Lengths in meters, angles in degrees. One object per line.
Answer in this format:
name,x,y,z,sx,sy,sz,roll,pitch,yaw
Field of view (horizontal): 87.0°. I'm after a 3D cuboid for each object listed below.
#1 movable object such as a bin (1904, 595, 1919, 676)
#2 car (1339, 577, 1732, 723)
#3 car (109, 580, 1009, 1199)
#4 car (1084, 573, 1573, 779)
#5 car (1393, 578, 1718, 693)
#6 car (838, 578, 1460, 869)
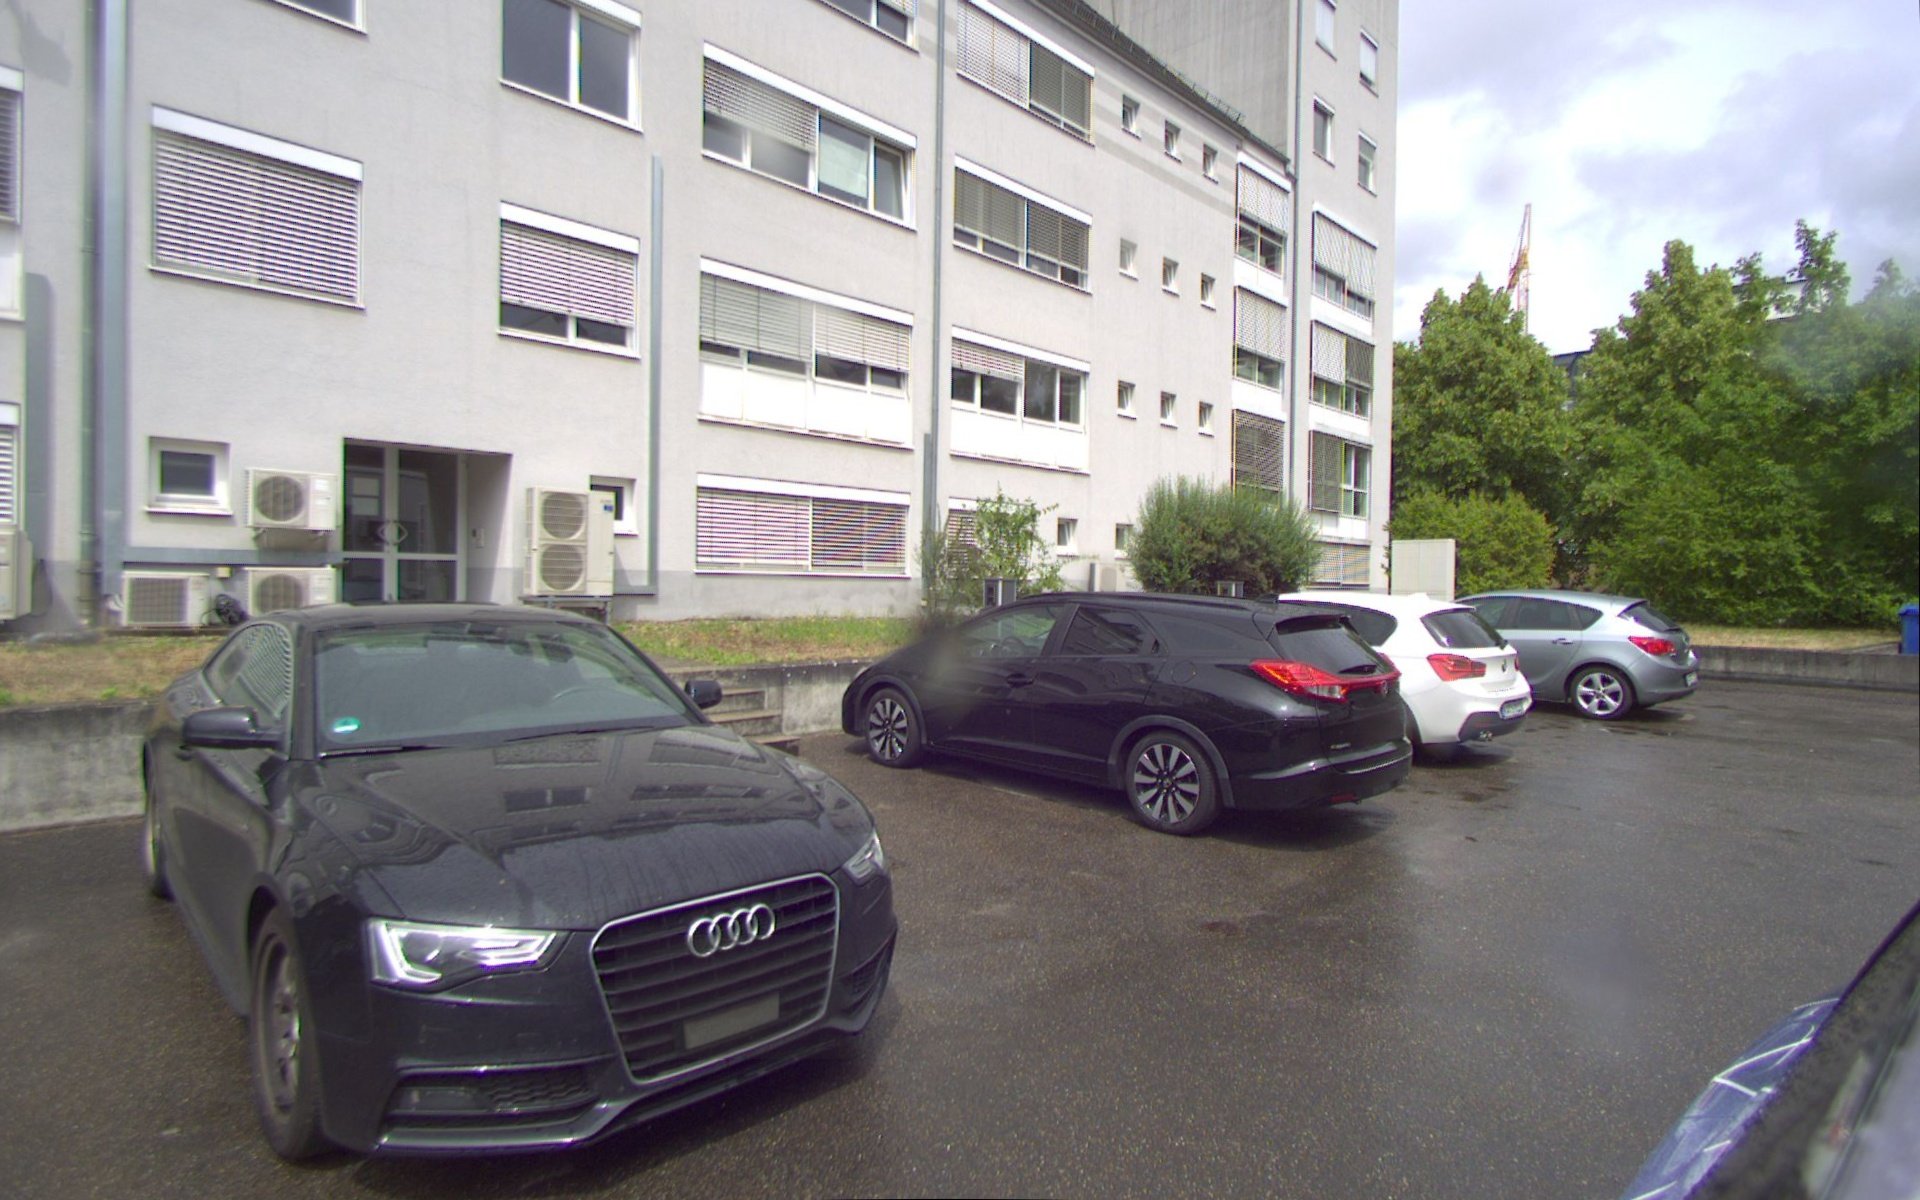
movable object such as a bin,16.642,0.616,16.812,1.036,1.334,1.232,1,1,-39
car,7.239,0.502,13.064,1.640,1.475,4.086,-1,3,-42
car,-2.033,0.668,4.129,1.830,1.365,4.356,1,2,-45
car,3.375,0.538,9.885,1.802,1.473,4.104,0,3,-43
car,9.166,0.449,15.851,1.759,1.370,3.998,0,4,-39
car,1.150,0.606,7.489,4.173,1.418,1.908,3,3,45
